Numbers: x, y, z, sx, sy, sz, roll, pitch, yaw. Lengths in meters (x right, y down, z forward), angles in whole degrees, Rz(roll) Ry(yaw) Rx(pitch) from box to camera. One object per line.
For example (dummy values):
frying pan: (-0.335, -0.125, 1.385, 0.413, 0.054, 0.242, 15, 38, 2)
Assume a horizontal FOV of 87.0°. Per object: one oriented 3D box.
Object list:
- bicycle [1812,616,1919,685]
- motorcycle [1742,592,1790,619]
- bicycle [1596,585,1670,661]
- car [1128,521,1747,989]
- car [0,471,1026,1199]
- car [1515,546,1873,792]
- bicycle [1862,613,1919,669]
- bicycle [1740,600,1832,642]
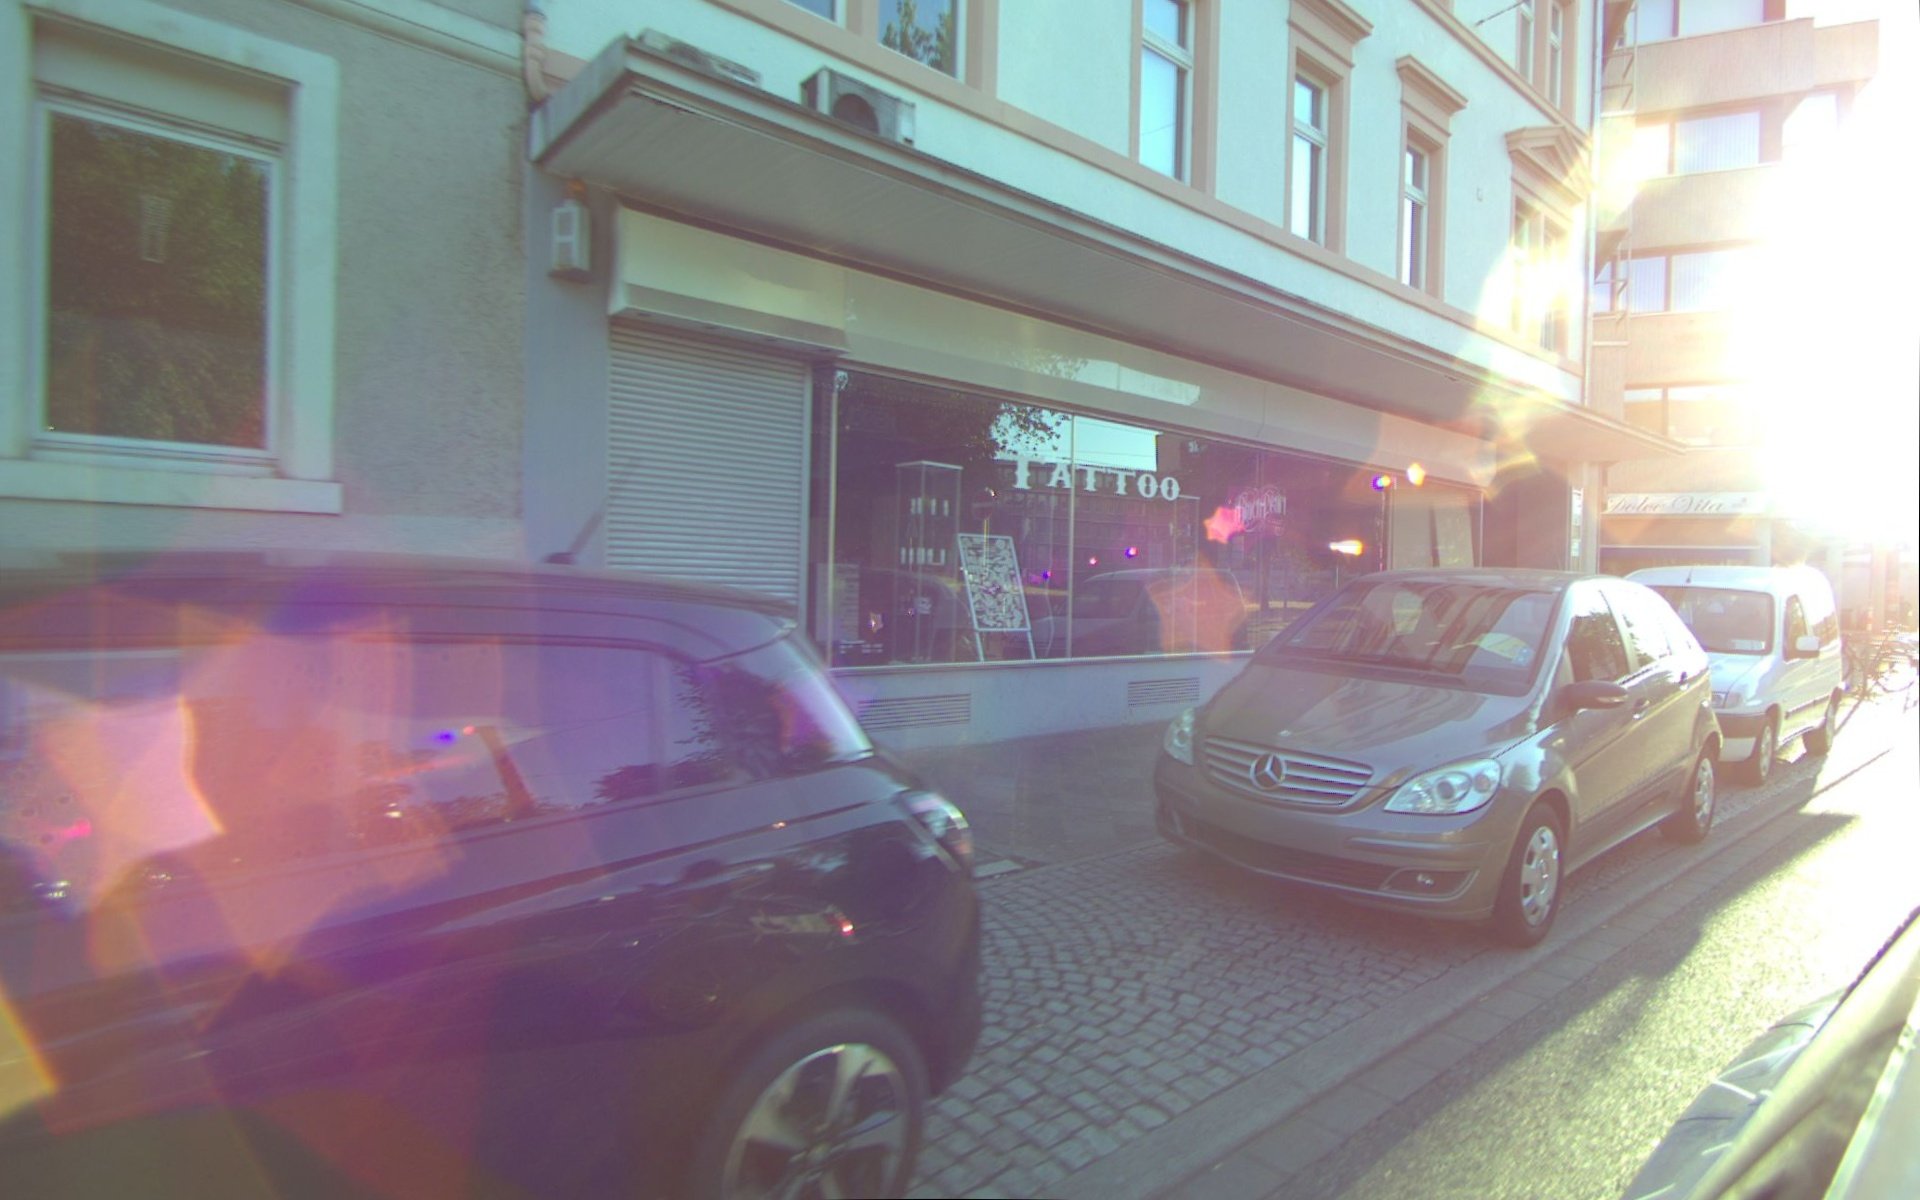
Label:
bicycle: (15.550, 0.844, 17.023, 0.530, 1.002, 1.798, 3, 2, -18)
motorcycle: (41.119, 0.262, 51.665, 0.655, 1.309, 1.800, 2, 1, -25)
bicycle: (12.836, 0.402, 19.356, 0.408, 1.291, 1.663, 1, 4, 7)
car: (2.871, 0.564, 5.622, 4.036, 1.686, 1.659, 1, 0, -41)
car: (-1.834, 0.624, 1.672, 3.814, 1.564, 1.670, 1, 0, -41)
car: (6.963, 0.485, 9.453, 4.019, 1.814, 1.796, 0, 1, -40)
bicycle: (18.651, 0.824, 19.509, 0.530, 1.002, 1.798, 3, 2, -21)
bicycle: (22.381, 0.567, 27.443, 1.862, 1.017, 0.457, 3, 2, 12)
